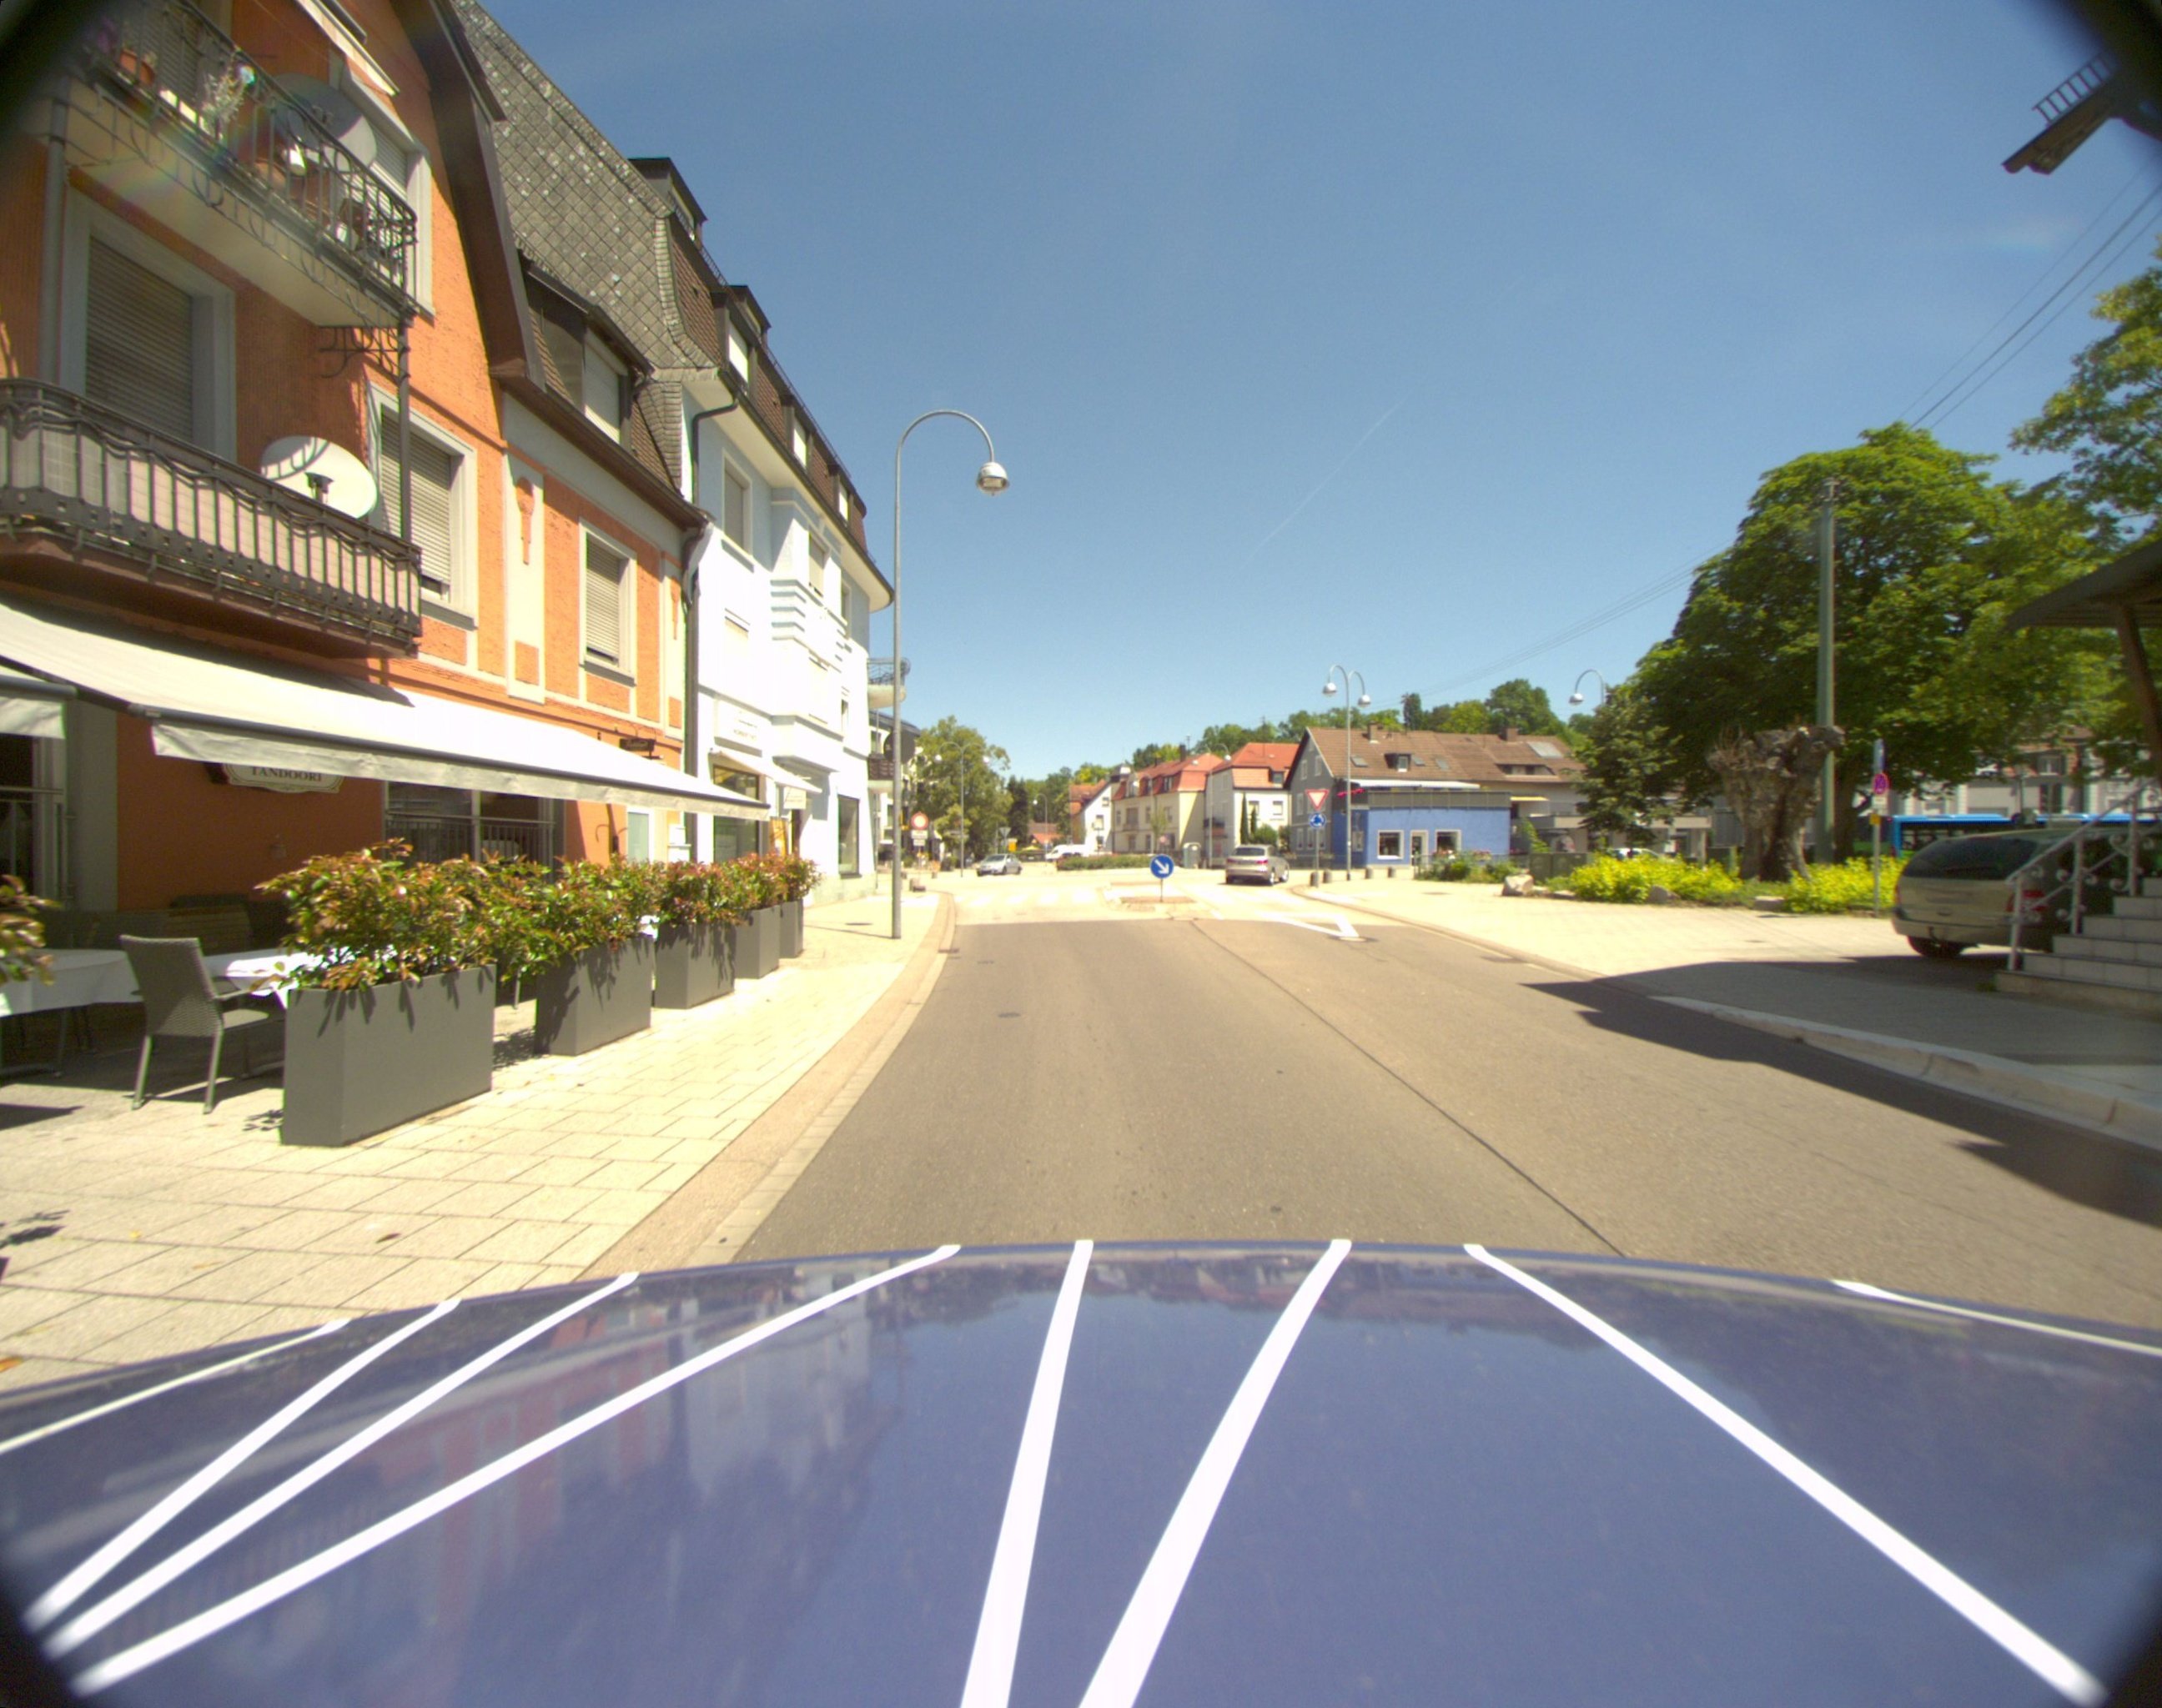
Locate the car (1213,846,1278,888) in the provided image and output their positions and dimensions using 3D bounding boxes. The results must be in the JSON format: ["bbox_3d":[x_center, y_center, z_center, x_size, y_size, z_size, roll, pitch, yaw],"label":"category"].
[{"bbox_3d":[6.522,0.480,30.502,1.679,1.534,4.083,1,1,0],"label":"car"}]

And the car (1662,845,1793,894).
[{"bbox_3d":[22.087,0.511,26.080,1.635,1.543,3.056,-1,0,-13],"label":"car"}]

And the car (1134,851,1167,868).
[{"bbox_3d":[6.389,0.471,69.961,1.610,1.384,4.072,-3,1,-16],"label":"car"}]

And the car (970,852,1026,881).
[{"bbox_3d":[-5.131,0.744,47.435,1.996,1.646,4.209,-1,0,17],"label":"car"}]

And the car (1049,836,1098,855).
[{"bbox_3d":[-1.085,-1.200,111.496,7.047,2.727,2.377,0,1,-5],"label":"car"}]

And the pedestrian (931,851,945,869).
[{"bbox_3d":[-13.438,0.532,71.344,0.816,1.639,0.952,0,1,30],"label":"pedestrian"}]

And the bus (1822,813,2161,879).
[{"bbox_3d":[48.362,-0.422,38.200,18.052,3.154,3.717,0,2,2],"label":"bus"}]

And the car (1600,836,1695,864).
[{"bbox_3d":[29.267,-0.190,39.388,3.709,1.404,1.552,0,1,25],"label":"car"}]

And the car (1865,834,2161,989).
[{"bbox_3d":[12.121,0.596,8.866,3.996,1.630,1.758,-1,1,3],"label":"car"}]
